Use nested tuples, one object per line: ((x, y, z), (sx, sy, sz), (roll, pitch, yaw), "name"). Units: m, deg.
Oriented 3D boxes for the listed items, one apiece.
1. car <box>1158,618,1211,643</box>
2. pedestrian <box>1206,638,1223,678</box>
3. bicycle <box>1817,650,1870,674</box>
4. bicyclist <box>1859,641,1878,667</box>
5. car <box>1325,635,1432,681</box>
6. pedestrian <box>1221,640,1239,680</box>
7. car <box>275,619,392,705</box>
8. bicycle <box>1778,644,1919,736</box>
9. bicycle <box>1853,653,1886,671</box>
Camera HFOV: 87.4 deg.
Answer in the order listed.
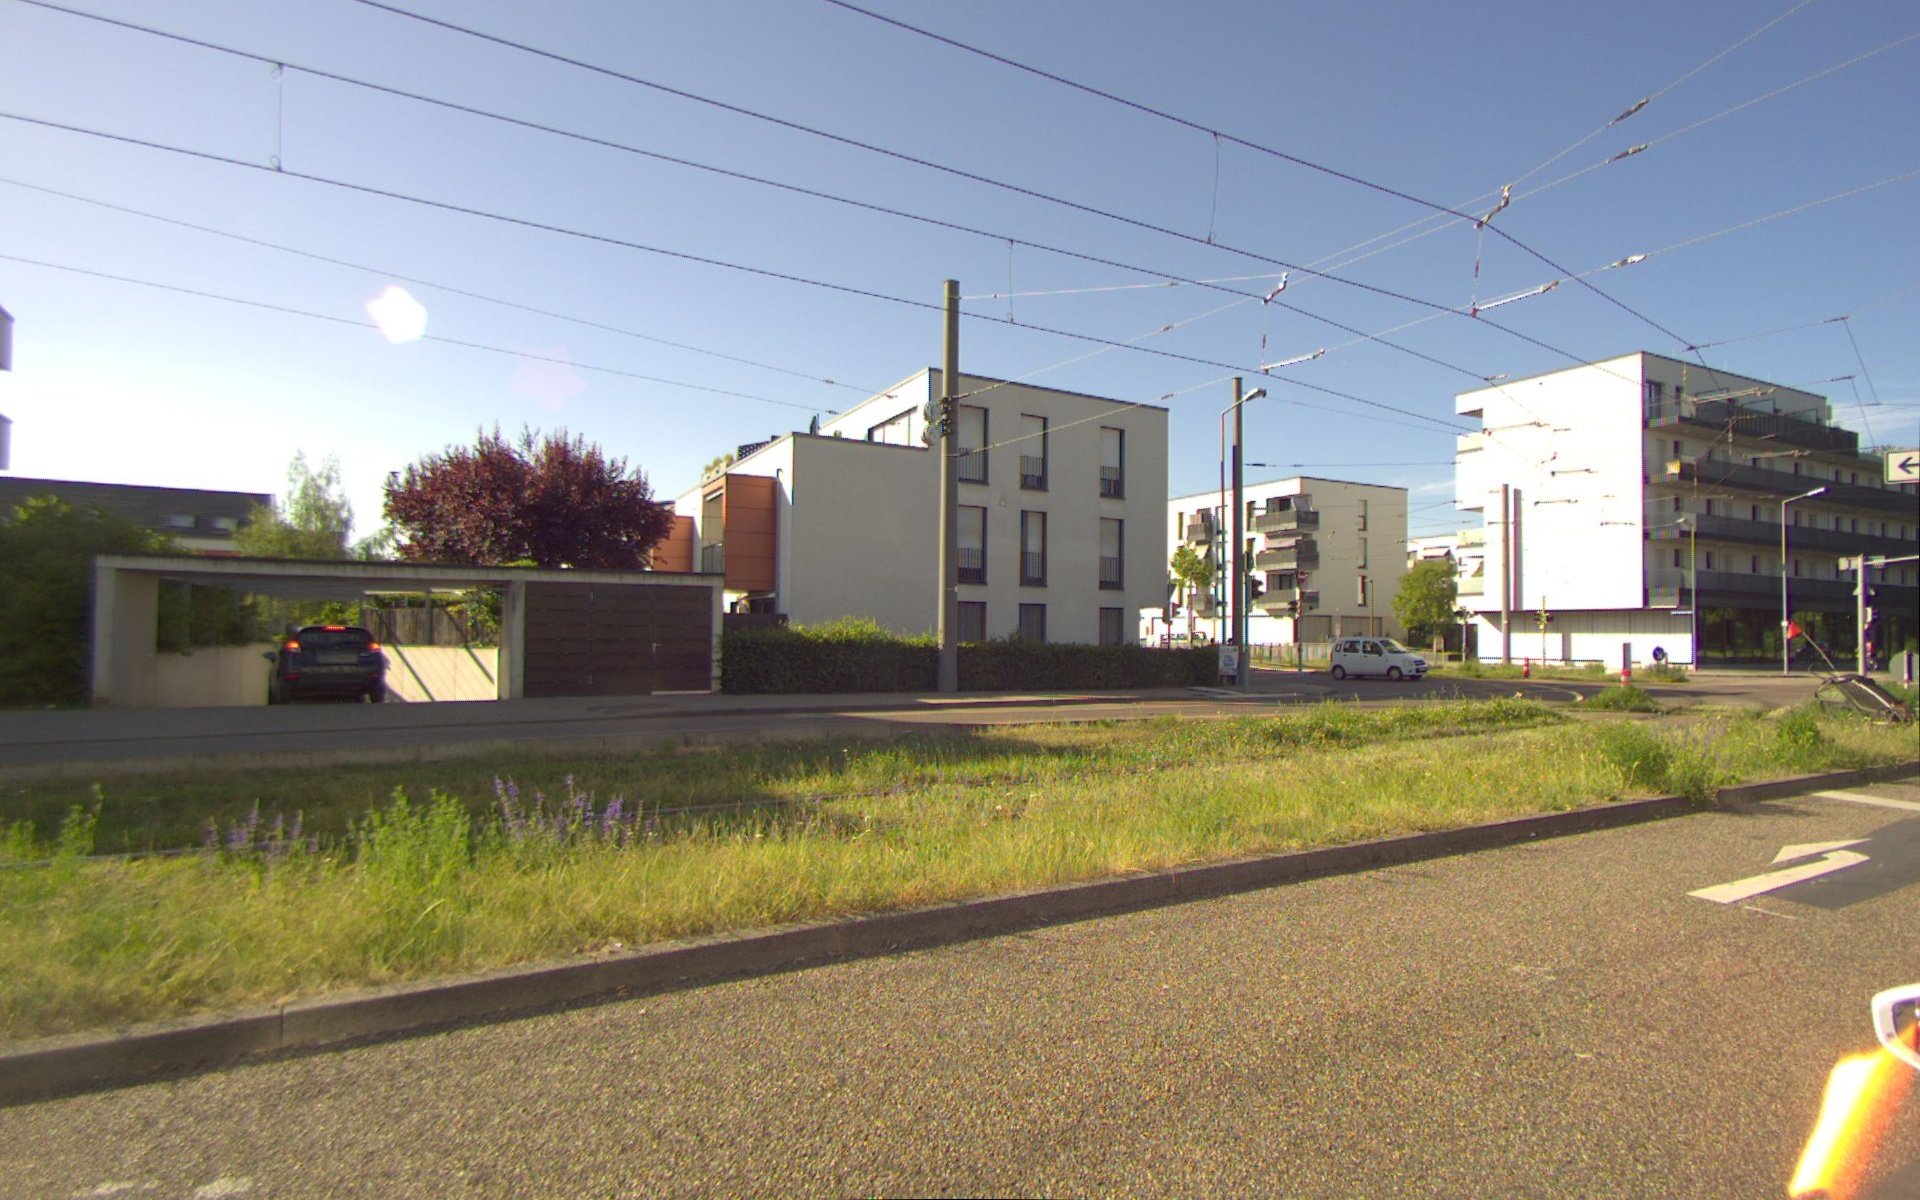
((17.855, 2.440, 80.132), (1.977, 1.862, 3.967), (1, 0, -31), "car")
((9.669, 2.190, 38.185), (0.548, 1.483, 0.742), (1, 0, 19), "pedestrian")
((42.333, 2.963, 48.140), (1.800, 1.099, 0.969), (1, 0, -6), "bicycle")
((44.632, 2.660, 49.330), (0.703, 1.239, 0.473), (1, 0, -26), "bicyclist")
((16.038, 2.214, 38.584), (1.578, 1.674, 3.466), (1, -3, -37), "car")
((10.201, 2.249, 37.913), (0.548, 1.483, 0.611), (1, 0, 23), "pedestrian")
((-12.018, 1.143, 19.293), (1.691, 1.449, 3.707), (3, -2, -32), "car")
((14.243, 1.368, 14.481), (0.988, 1.190, 3.664), (1, 1, -31), "bicycle")
((44.704, 3.044, 49.365), (2.051, 0.860, 0.494), (1, 0, -26), "bicycle")
